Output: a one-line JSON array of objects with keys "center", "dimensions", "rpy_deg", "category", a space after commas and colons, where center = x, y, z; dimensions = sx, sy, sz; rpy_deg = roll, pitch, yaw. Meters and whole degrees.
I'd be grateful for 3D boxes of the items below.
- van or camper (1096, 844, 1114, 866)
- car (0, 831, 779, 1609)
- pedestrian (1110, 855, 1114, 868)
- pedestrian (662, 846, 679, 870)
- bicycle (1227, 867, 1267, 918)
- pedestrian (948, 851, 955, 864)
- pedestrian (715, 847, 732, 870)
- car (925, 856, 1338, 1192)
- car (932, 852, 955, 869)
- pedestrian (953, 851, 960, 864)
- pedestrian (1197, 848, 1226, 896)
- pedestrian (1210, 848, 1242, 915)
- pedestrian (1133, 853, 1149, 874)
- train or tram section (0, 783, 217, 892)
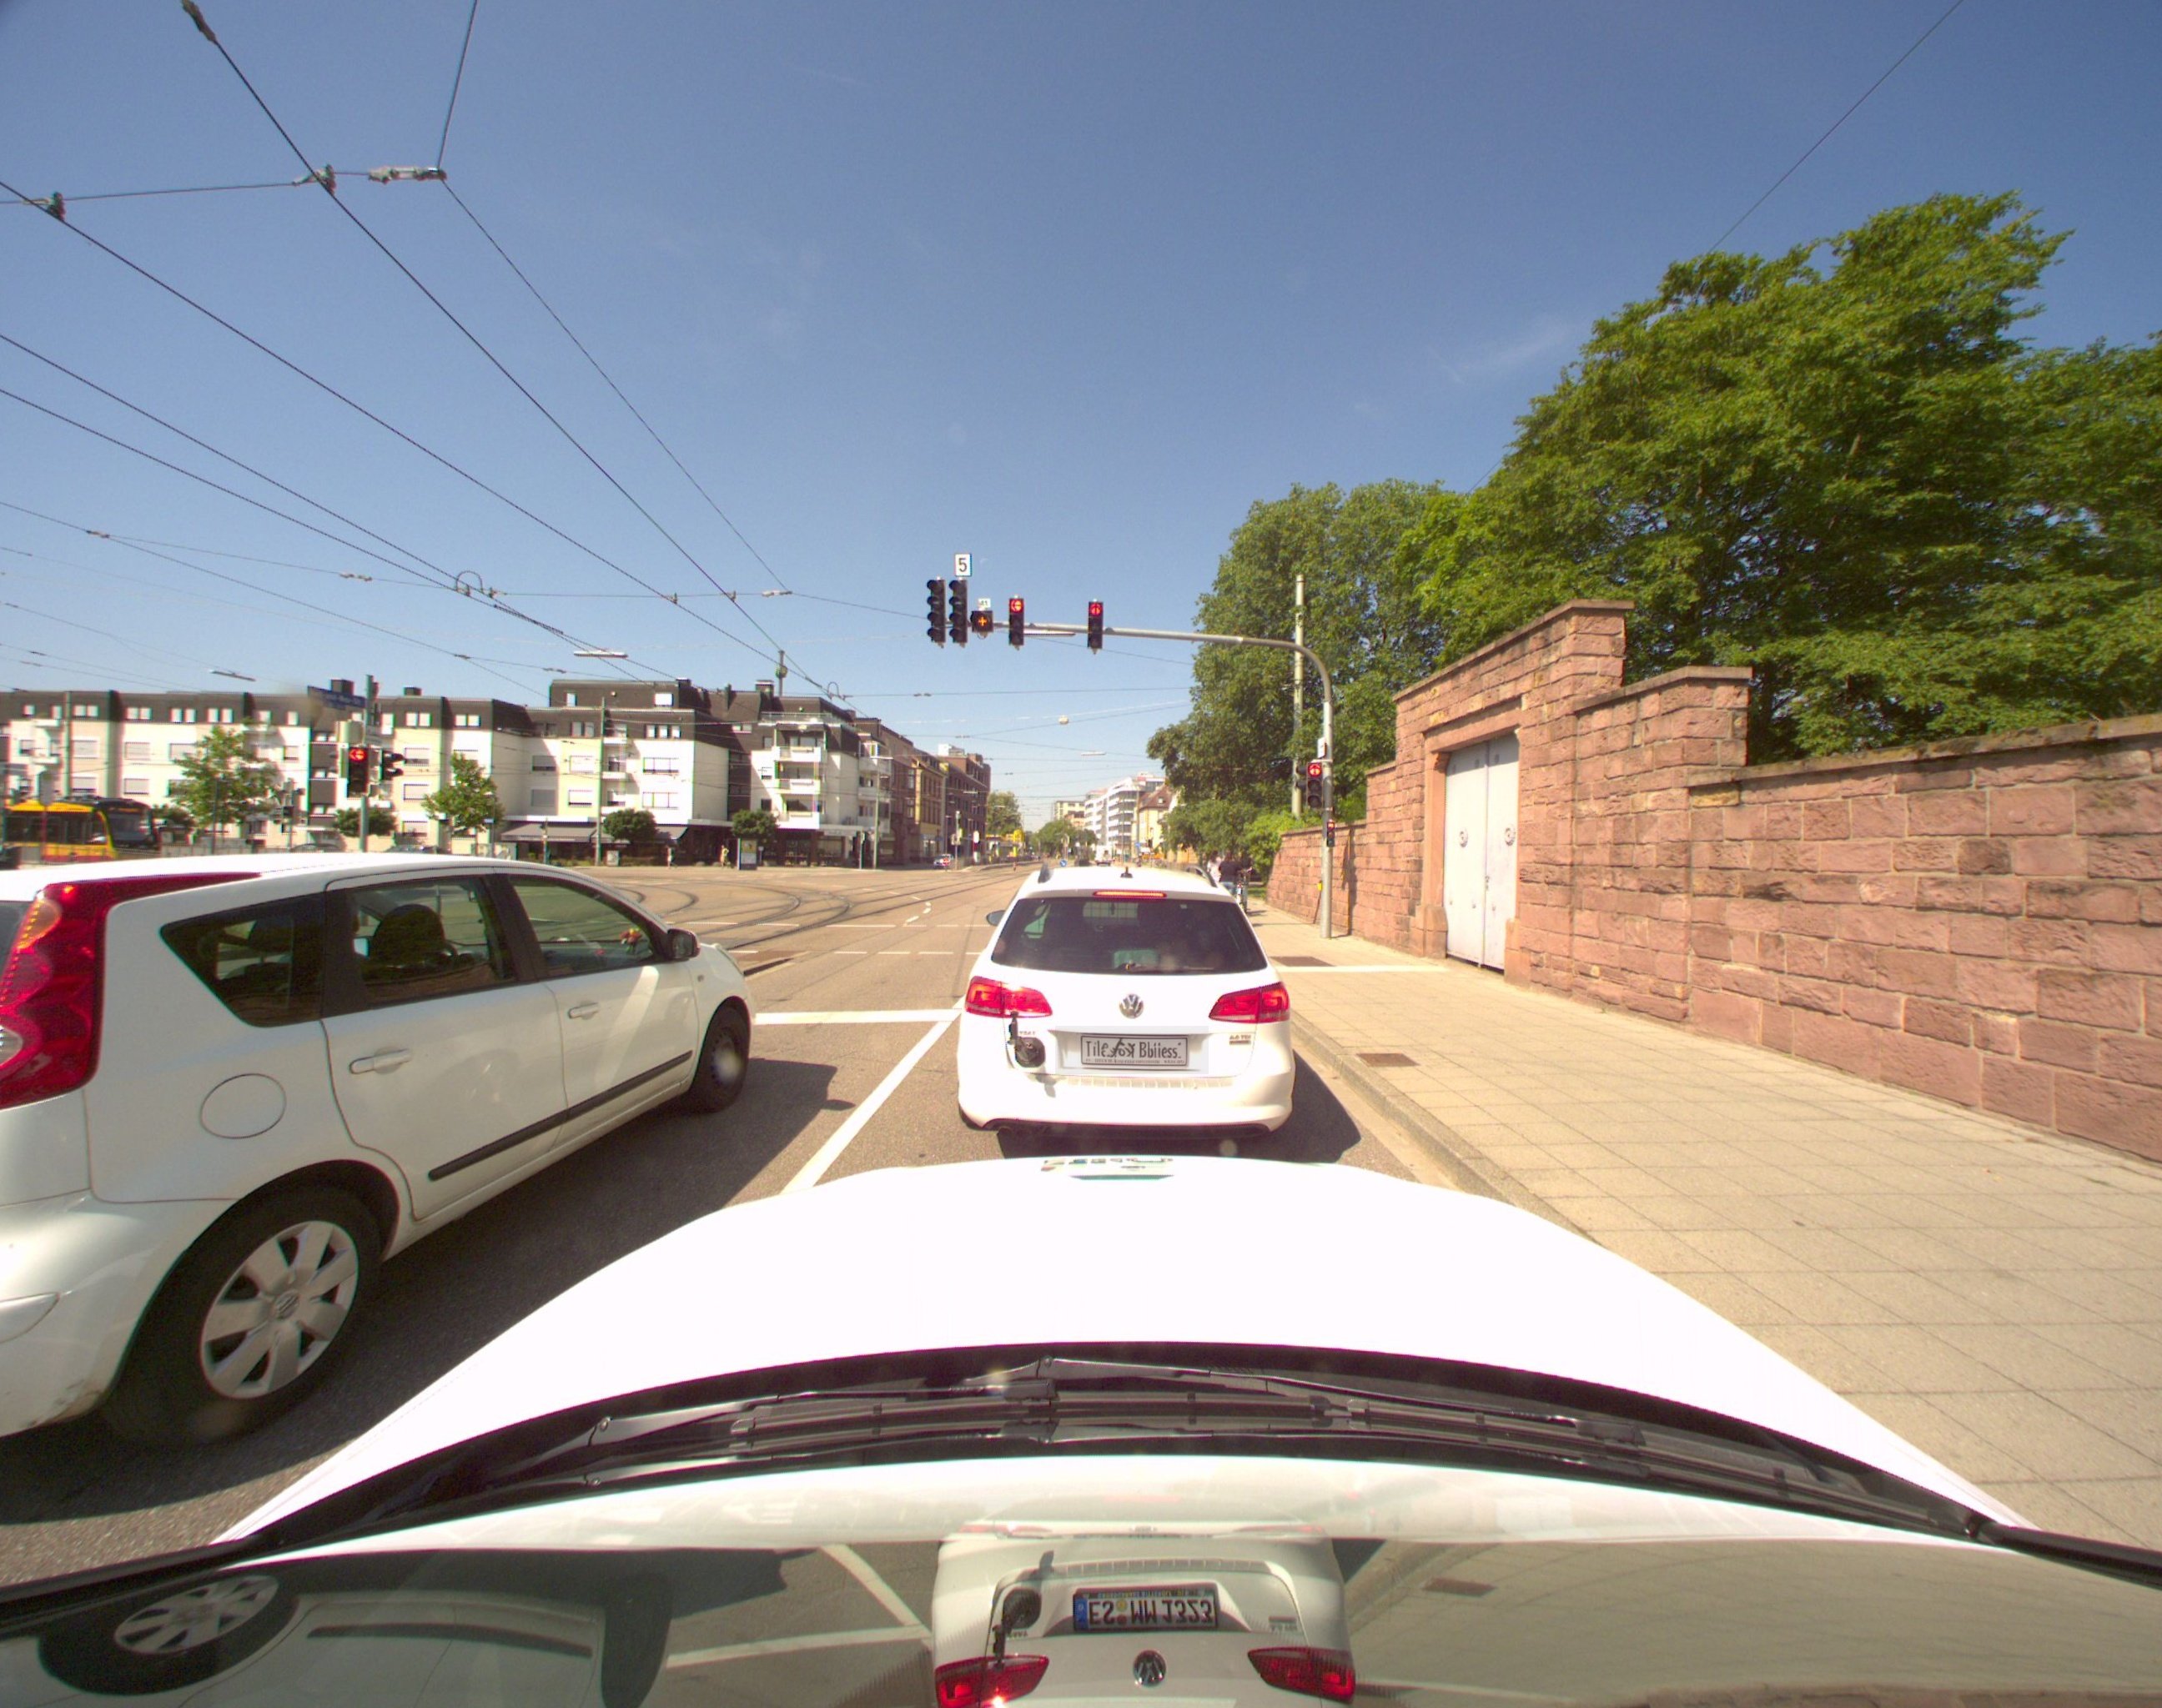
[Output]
[{"center": [3.577, 0.191, 120.431], "dimensions": [2.557, 3.093, 5.704], "rpy_deg": [-1, -1, 1], "category": "van or camper"}, {"center": [-2.901, 0.722, 3.545], "dimensions": [1.636, 1.566, 3.805], "rpy_deg": [-1, 1, 1], "category": "car"}, {"center": [5.837, 1.436, 153.723], "dimensions": [0.687, 2.325, 1.233], "rpy_deg": [-1, -1, 3], "category": "pedestrian"}, {"center": [-29.391, 0.295, 58.282], "dimensions": [0.978, 1.743, 0.855], "rpy_deg": [0, -2, -33], "category": "pedestrian"}, {"center": [3.993, 0.889, 19.470], "dimensions": [0.702, 1.090, 2.035], "rpy_deg": [-1, 1, 17], "category": "bicycle"}, {"center": [-17.296, 0.467, 108.679], "dimensions": [0.860, 1.743, 0.973], "rpy_deg": [-1, -1, -4], "category": "pedestrian"}, {"center": [-26.870, 0.334, 61.209], "dimensions": [0.980, 1.743, 0.854], "rpy_deg": [0, -2, -43], "category": "pedestrian"}, {"center": [0.275, 0.744, 5.562], "dimensions": [1.801, 1.448, 4.001], "rpy_deg": [0, 0, 1], "category": "car"}, {"center": [-13.691, 0.684, 81.297], "dimensions": [1.736, 1.618, 3.997], "rpy_deg": [-1, -1, -1], "category": "car"}, {"center": [-17.696, 0.508, 115.633], "dimensions": [0.860, 1.743, 0.973], "rpy_deg": [-1, -1, -4], "category": "pedestrian"}, {"center": [4.549, 0.627, 28.394], "dimensions": [0.947, 1.651, 0.977], "rpy_deg": [-1, -1, 8], "category": "pedestrian"}, {"center": [3.529, 0.651, 19.789], "dimensions": [0.668, 1.571, 0.751], "rpy_deg": [0, 0, 17], "category": "pedestrian"}, {"center": [5.099, 0.820, 69.117], "dimensions": [0.962, 1.743, 0.870], "rpy_deg": [-2, -2, 39], "category": "pedestrian"}, {"center": [-54.718, -0.675, 41.522], "dimensions": [16.149, 5.150, 4.735], "rpy_deg": [-1, -1, 0], "category": "train or tram section"}]
